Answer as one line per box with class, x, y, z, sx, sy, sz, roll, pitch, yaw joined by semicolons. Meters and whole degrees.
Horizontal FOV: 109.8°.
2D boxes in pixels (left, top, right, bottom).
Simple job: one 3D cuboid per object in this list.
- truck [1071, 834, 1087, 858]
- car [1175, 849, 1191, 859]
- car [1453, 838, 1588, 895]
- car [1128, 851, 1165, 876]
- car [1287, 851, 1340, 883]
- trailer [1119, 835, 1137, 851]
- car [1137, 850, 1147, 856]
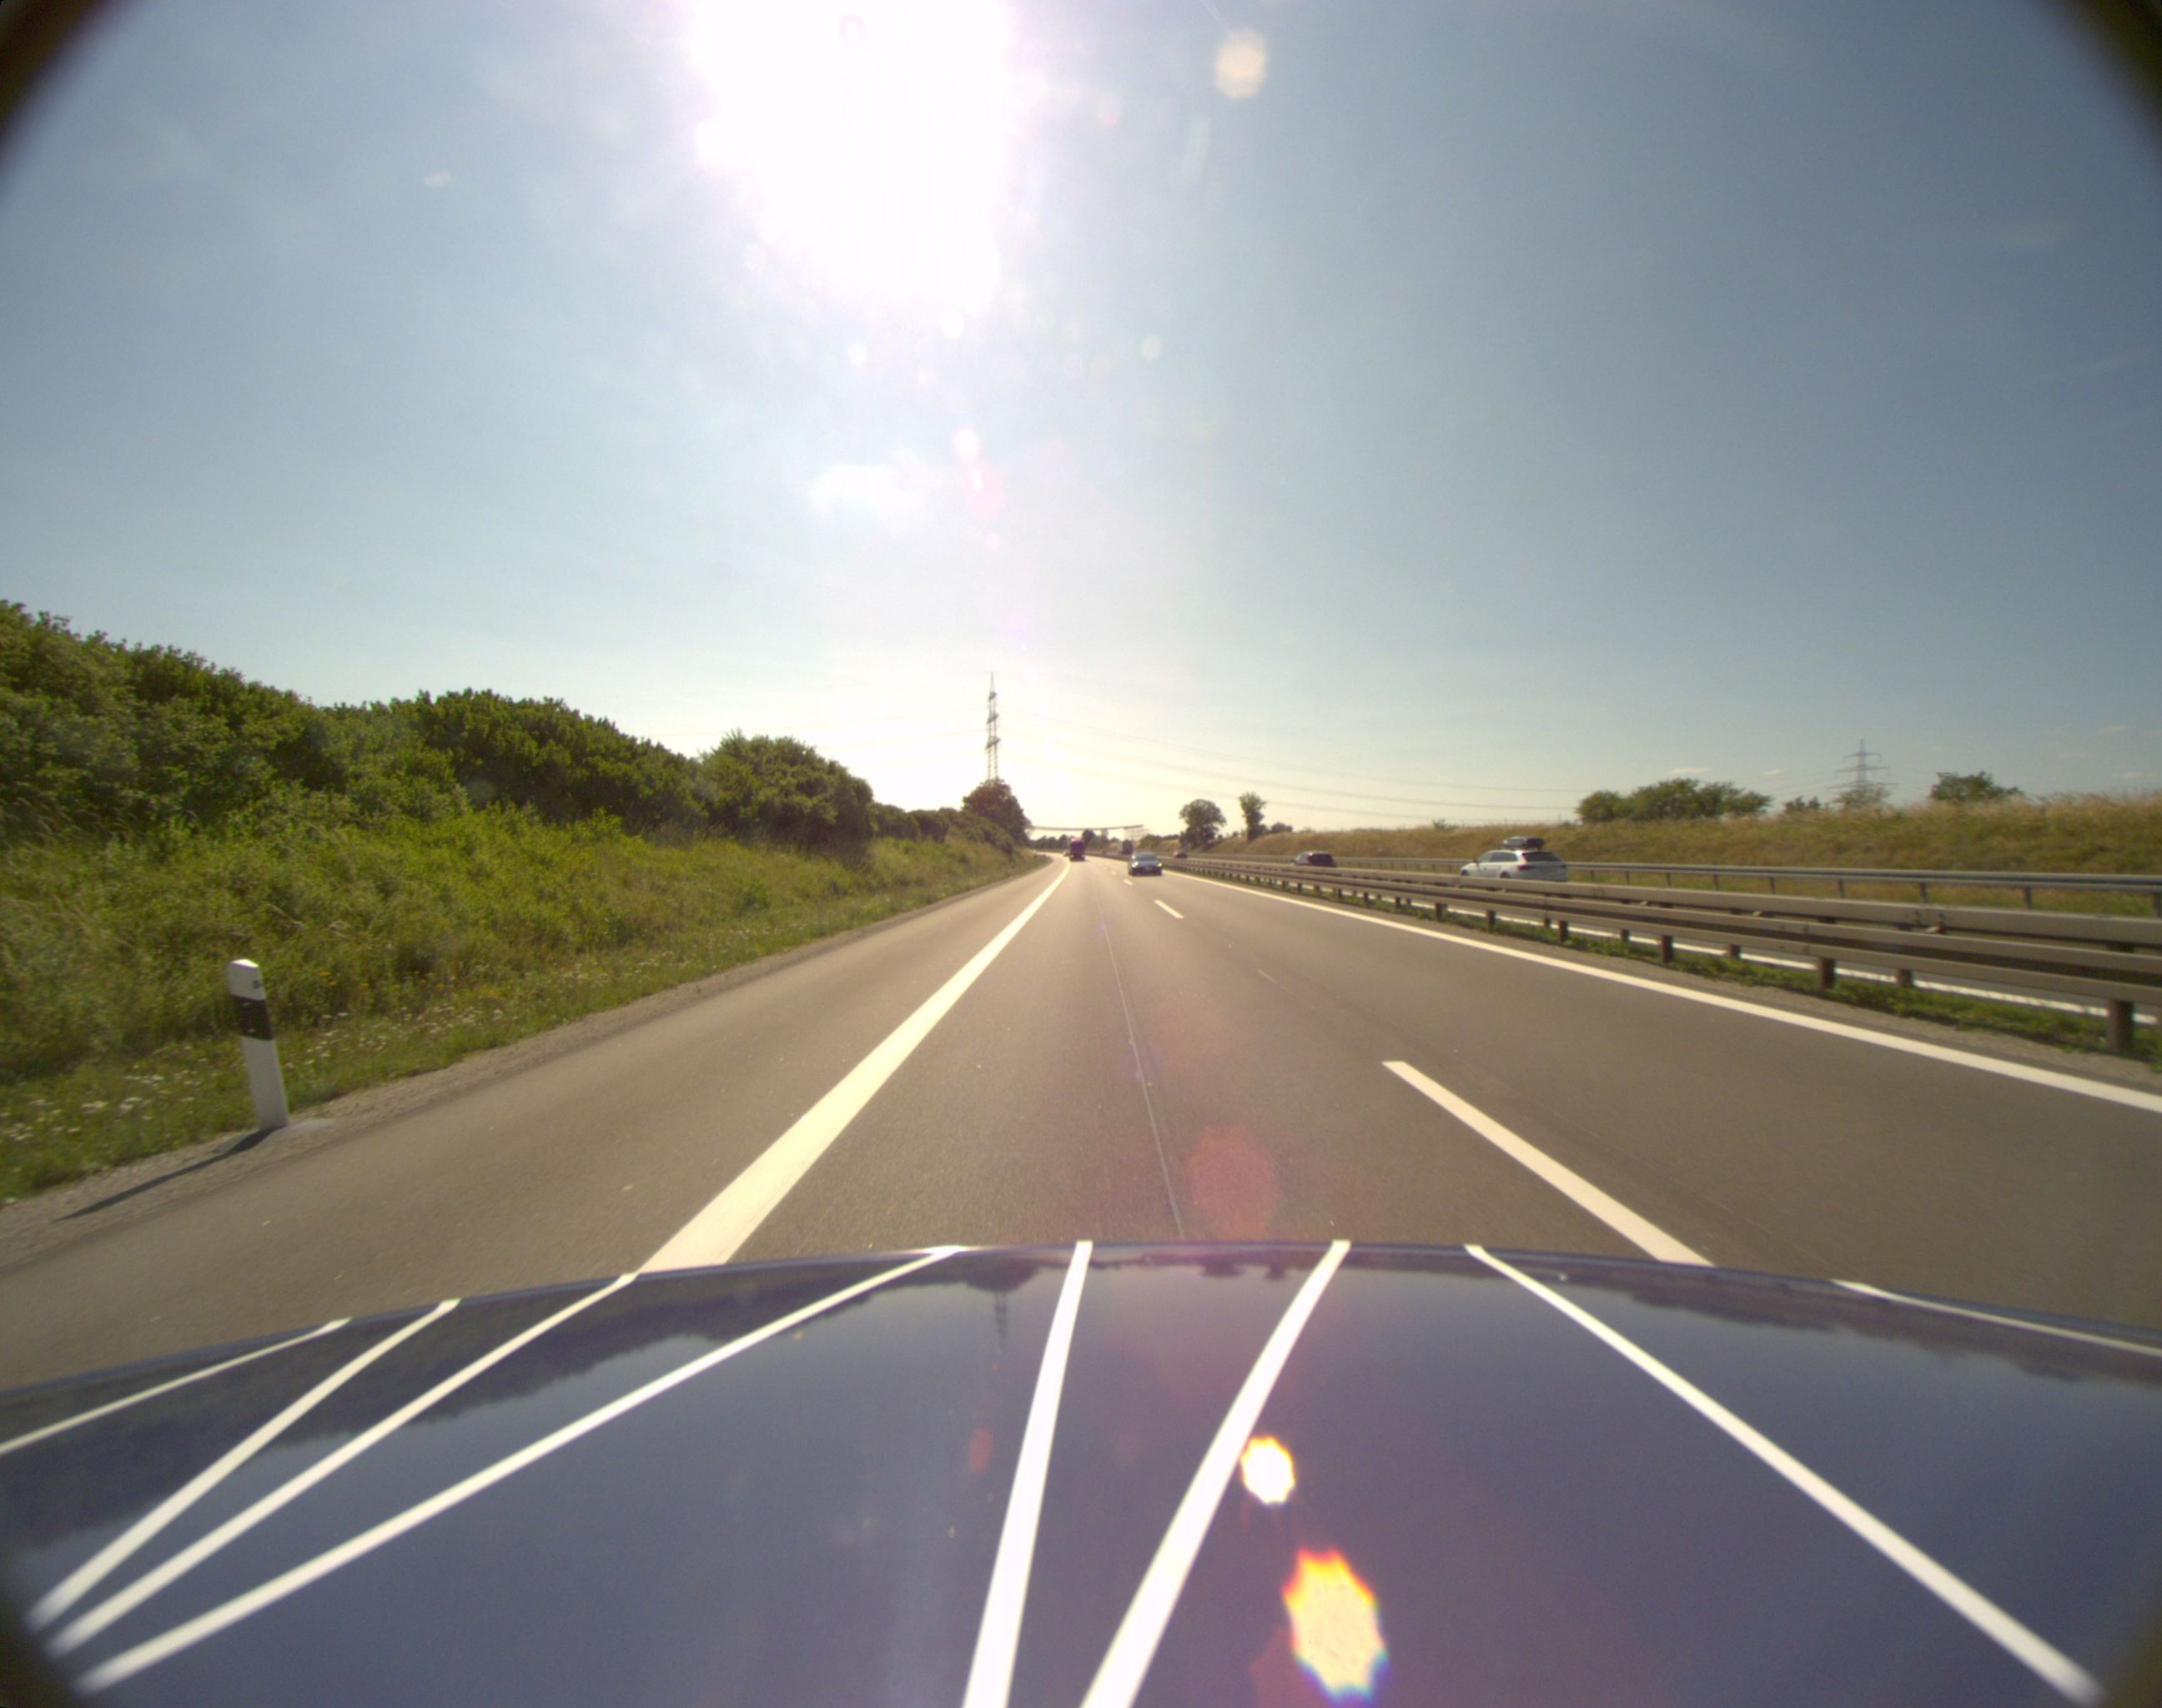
truck;-0.353;-1.319;130.521;2.571;3.939;8.642;-1;1;0
car;15.326;0.027;114.384;1.729;1.459;5.241;-1;0;0
car;15.756;0.387;27.641;1.950;1.835;5.183;-1;1;1
car;4.099;0.577;48.265;1.852;1.424;5.865;1;0;0
car;12.057;0.637;39.623;1.620;1.522;4.000;-1;1;1
trailer;12.671;-2.873;205.801;3.624;3.975;14.045;-1;1;0
car;14.098;-0.216;176.308;1.910;1.352;4.553;-1;1;-1
